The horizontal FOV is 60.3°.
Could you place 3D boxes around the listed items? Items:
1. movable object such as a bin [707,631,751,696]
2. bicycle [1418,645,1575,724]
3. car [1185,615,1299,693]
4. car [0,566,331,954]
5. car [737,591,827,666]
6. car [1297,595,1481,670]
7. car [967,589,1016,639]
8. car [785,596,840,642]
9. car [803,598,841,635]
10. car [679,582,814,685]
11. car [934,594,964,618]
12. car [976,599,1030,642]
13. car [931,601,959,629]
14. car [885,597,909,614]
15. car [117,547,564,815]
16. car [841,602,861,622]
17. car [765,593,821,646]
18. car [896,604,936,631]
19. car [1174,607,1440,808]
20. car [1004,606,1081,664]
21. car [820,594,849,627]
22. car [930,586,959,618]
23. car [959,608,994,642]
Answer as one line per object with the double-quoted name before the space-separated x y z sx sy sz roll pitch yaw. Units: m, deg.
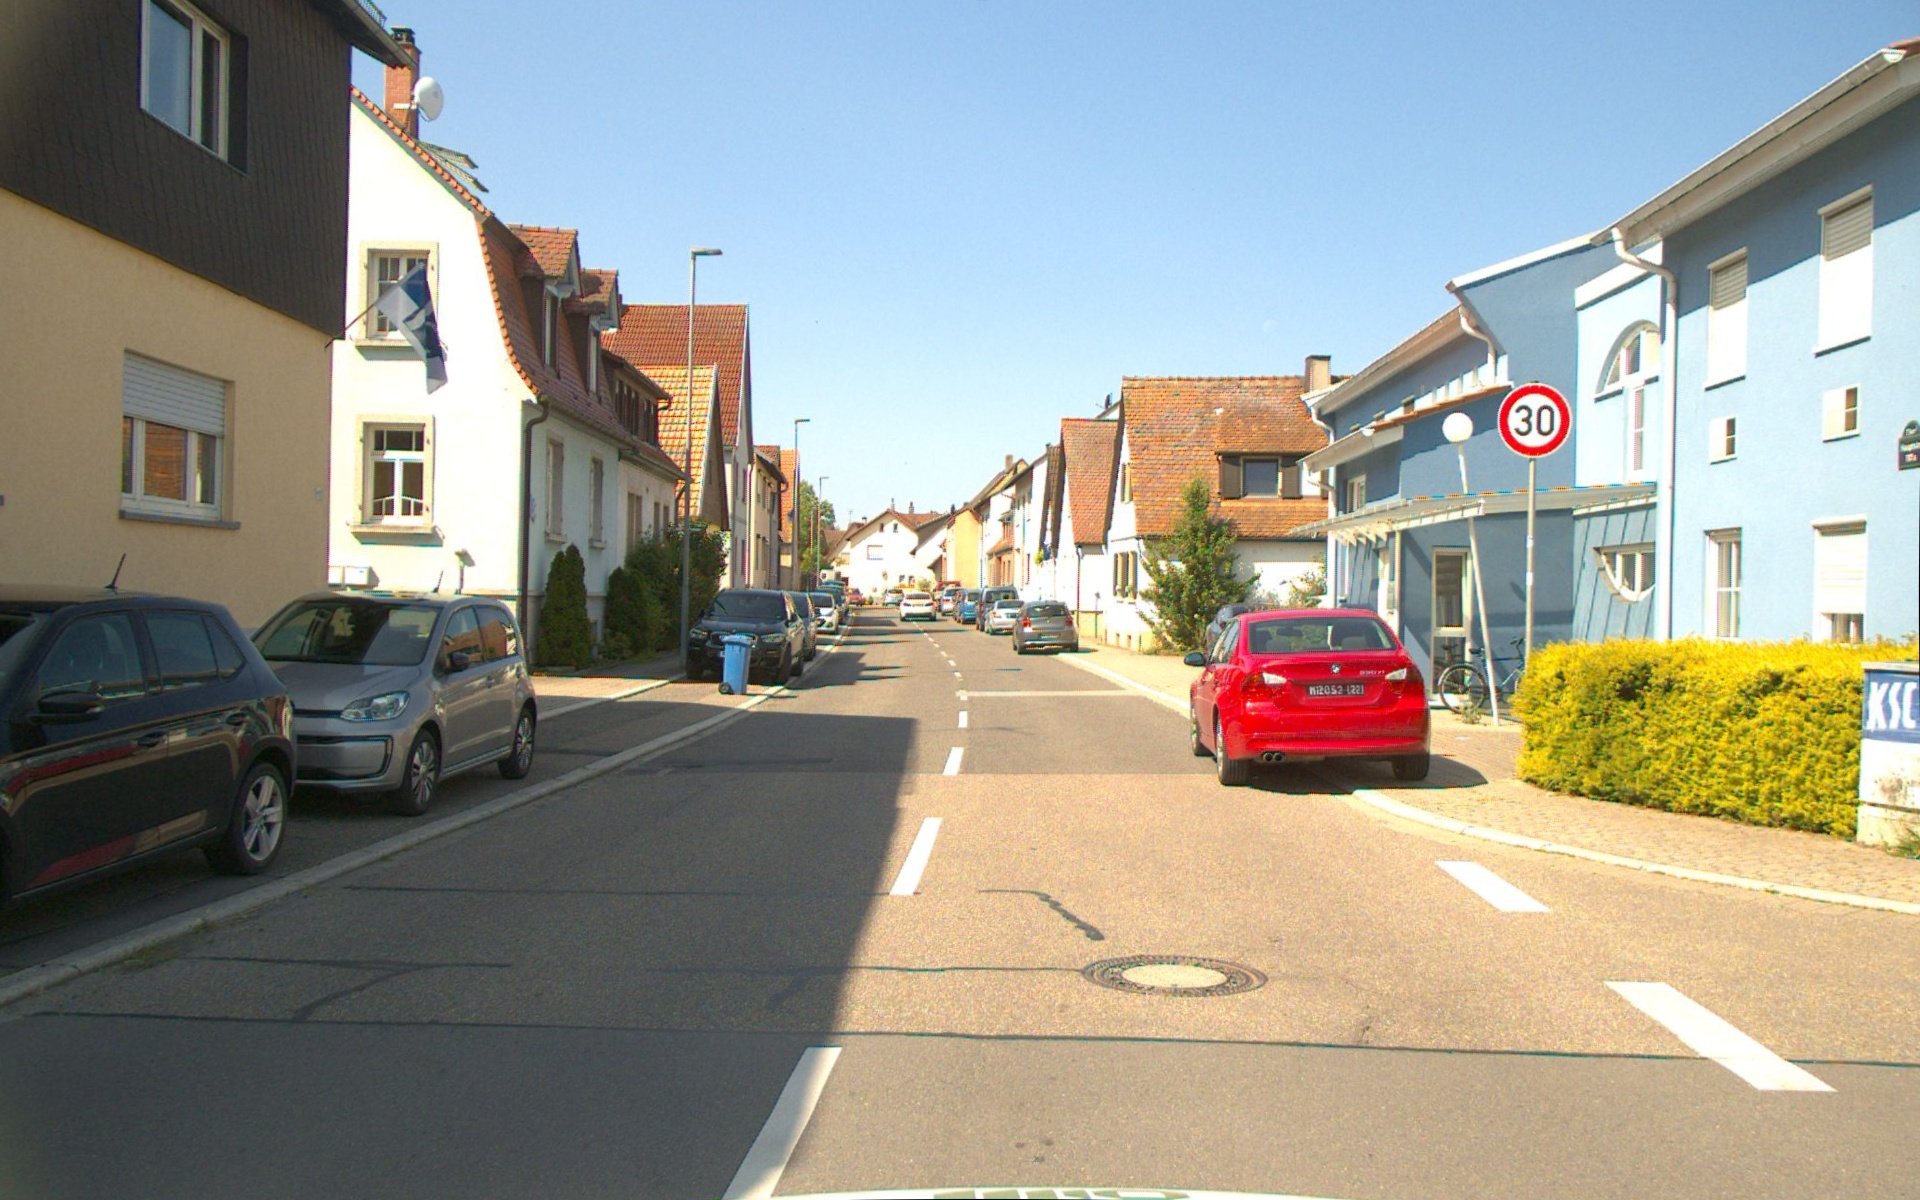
"movable object such as a bin" -3.725 1.019 26.720 0.584 0.999 0.531 3 -1 -1
"bicycle" 7.290 1.137 22.529 1.914 0.998 0.657 1 -1 2
"car" 5.787 1.085 34.393 1.655 1.445 4.145 3 -1 1
"car" -4.503 0.601 7.312 1.644 1.462 3.997 5 -1 3
"car" -4.432 0.695 41.749 1.835 1.665 4.662 3 0 -2
"car" 10.549 0.794 40.869 4.087 1.686 1.813 2 -1 3
"car" 1.286 0.566 68.426 1.617 1.943 3.623 3 -1 -4
"car" -5.589 0.714 63.067 1.770 1.574 4.402 3 0 -2
"car" -6.358 0.752 76.626 1.587 1.605 3.958 3 0 -4
"car" -4.007 0.624 31.802 1.881 1.696 4.664 4 -1 0
"car" -0.730 0.404 105.092 1.731 1.458 3.448 2 -1 -2
"car" 1.627 0.768 63.402 1.671 1.523 3.450 3 -1 -4
"car" -0.908 0.868 96.965 1.392 1.541 3.301 3 -1 -4
"car" -5.351 0.458 140.652 1.954 1.311 3.801 2 -1 -3
"car" -4.330 0.530 12.234 1.607 1.527 3.782 5 -1 3
"car" -9.130 1.007 138.928 1.569 1.515 3.623 3 0 -4
"car" -5.316 0.622 53.010 1.521 1.571 2.986 3 -1 -2
"car" -2.320 0.911 85.848 1.954 1.311 3.997 2 -1 -3
"car" 2.966 0.889 14.962 1.696 1.521 4.356 1 -2 3
"car" 2.278 0.948 46.663 1.671 1.458 3.886 3 -1 -4
"car" -7.110 0.588 93.785 1.497 1.743 3.623 3 -1 -4
"car" -1.060 0.124 110.183 1.731 2.039 3.448 2 -1 -2
"car" 0.770 1.180 79.431 1.392 1.541 3.301 3 -1 -4
